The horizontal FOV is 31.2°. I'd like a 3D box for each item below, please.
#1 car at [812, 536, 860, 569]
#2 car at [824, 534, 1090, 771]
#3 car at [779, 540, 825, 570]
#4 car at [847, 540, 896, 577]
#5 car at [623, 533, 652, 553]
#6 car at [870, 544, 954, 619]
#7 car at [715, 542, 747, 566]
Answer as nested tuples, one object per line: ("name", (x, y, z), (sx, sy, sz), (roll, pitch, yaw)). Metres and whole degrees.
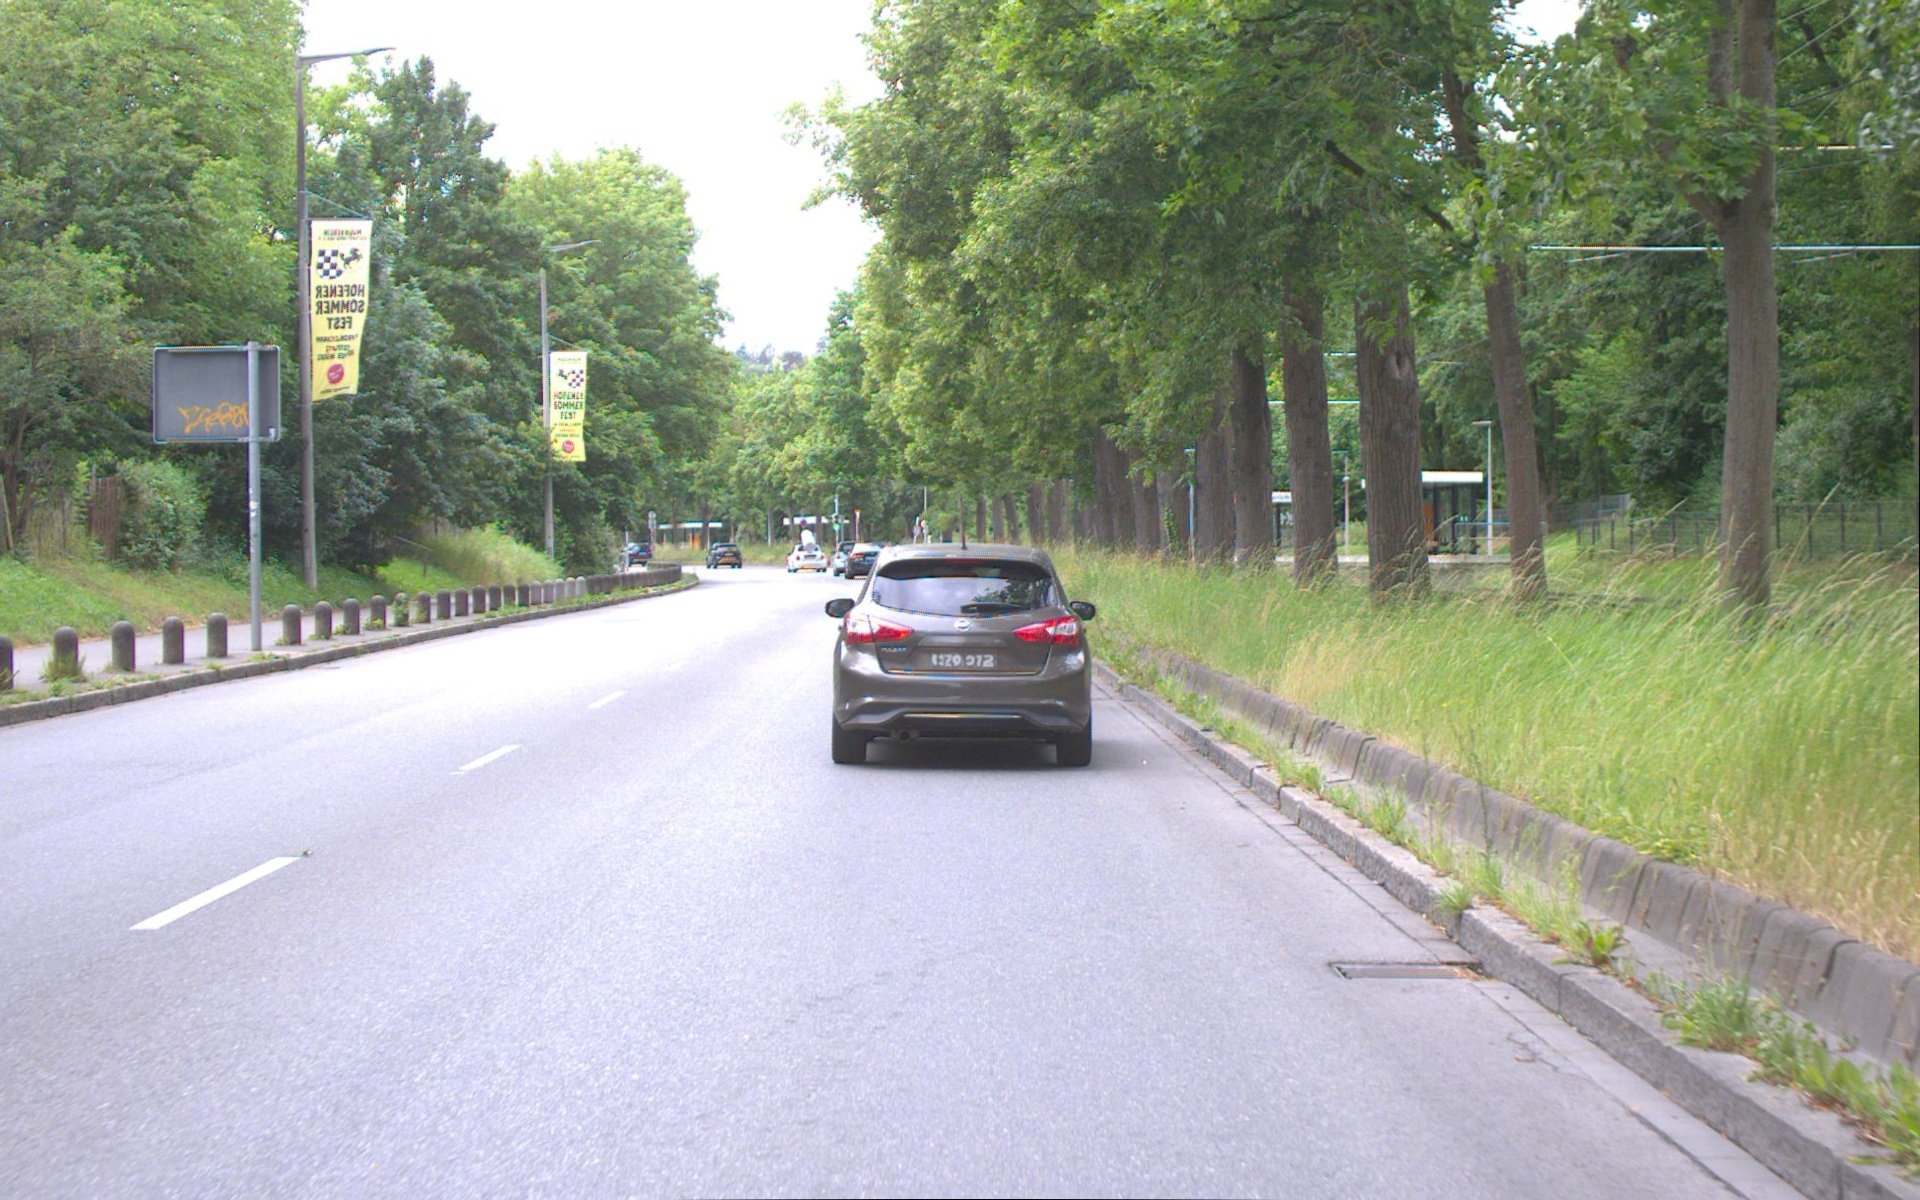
("car", (-5.550, -2.119, 153.431), (1.561, 1.436, 3.553), (1, 1, -12))
("car", (-0.062, 0.311, 24.406), (1.730, 1.532, 3.552), (1, 1, -1))
("car", (-8.062, -2.300, 175.398), (1.561, 1.436, 3.553), (1, 1, -15))
("car", (-3.541, -1.667, 137.305), (1.561, 1.436, 3.553), (1, 1, -8))
("car", (-22.900, -4.044, 243.781), (1.561, 1.436, 3.553), (1, 1, -13))
("car", (-1.053, -0.409, 73.663), (1.730, 1.532, 3.552), (1, 1, -1))
("car", (-14.035, -2.813, 210.713), (1.561, 1.436, 3.553), (1, 1, -11))
